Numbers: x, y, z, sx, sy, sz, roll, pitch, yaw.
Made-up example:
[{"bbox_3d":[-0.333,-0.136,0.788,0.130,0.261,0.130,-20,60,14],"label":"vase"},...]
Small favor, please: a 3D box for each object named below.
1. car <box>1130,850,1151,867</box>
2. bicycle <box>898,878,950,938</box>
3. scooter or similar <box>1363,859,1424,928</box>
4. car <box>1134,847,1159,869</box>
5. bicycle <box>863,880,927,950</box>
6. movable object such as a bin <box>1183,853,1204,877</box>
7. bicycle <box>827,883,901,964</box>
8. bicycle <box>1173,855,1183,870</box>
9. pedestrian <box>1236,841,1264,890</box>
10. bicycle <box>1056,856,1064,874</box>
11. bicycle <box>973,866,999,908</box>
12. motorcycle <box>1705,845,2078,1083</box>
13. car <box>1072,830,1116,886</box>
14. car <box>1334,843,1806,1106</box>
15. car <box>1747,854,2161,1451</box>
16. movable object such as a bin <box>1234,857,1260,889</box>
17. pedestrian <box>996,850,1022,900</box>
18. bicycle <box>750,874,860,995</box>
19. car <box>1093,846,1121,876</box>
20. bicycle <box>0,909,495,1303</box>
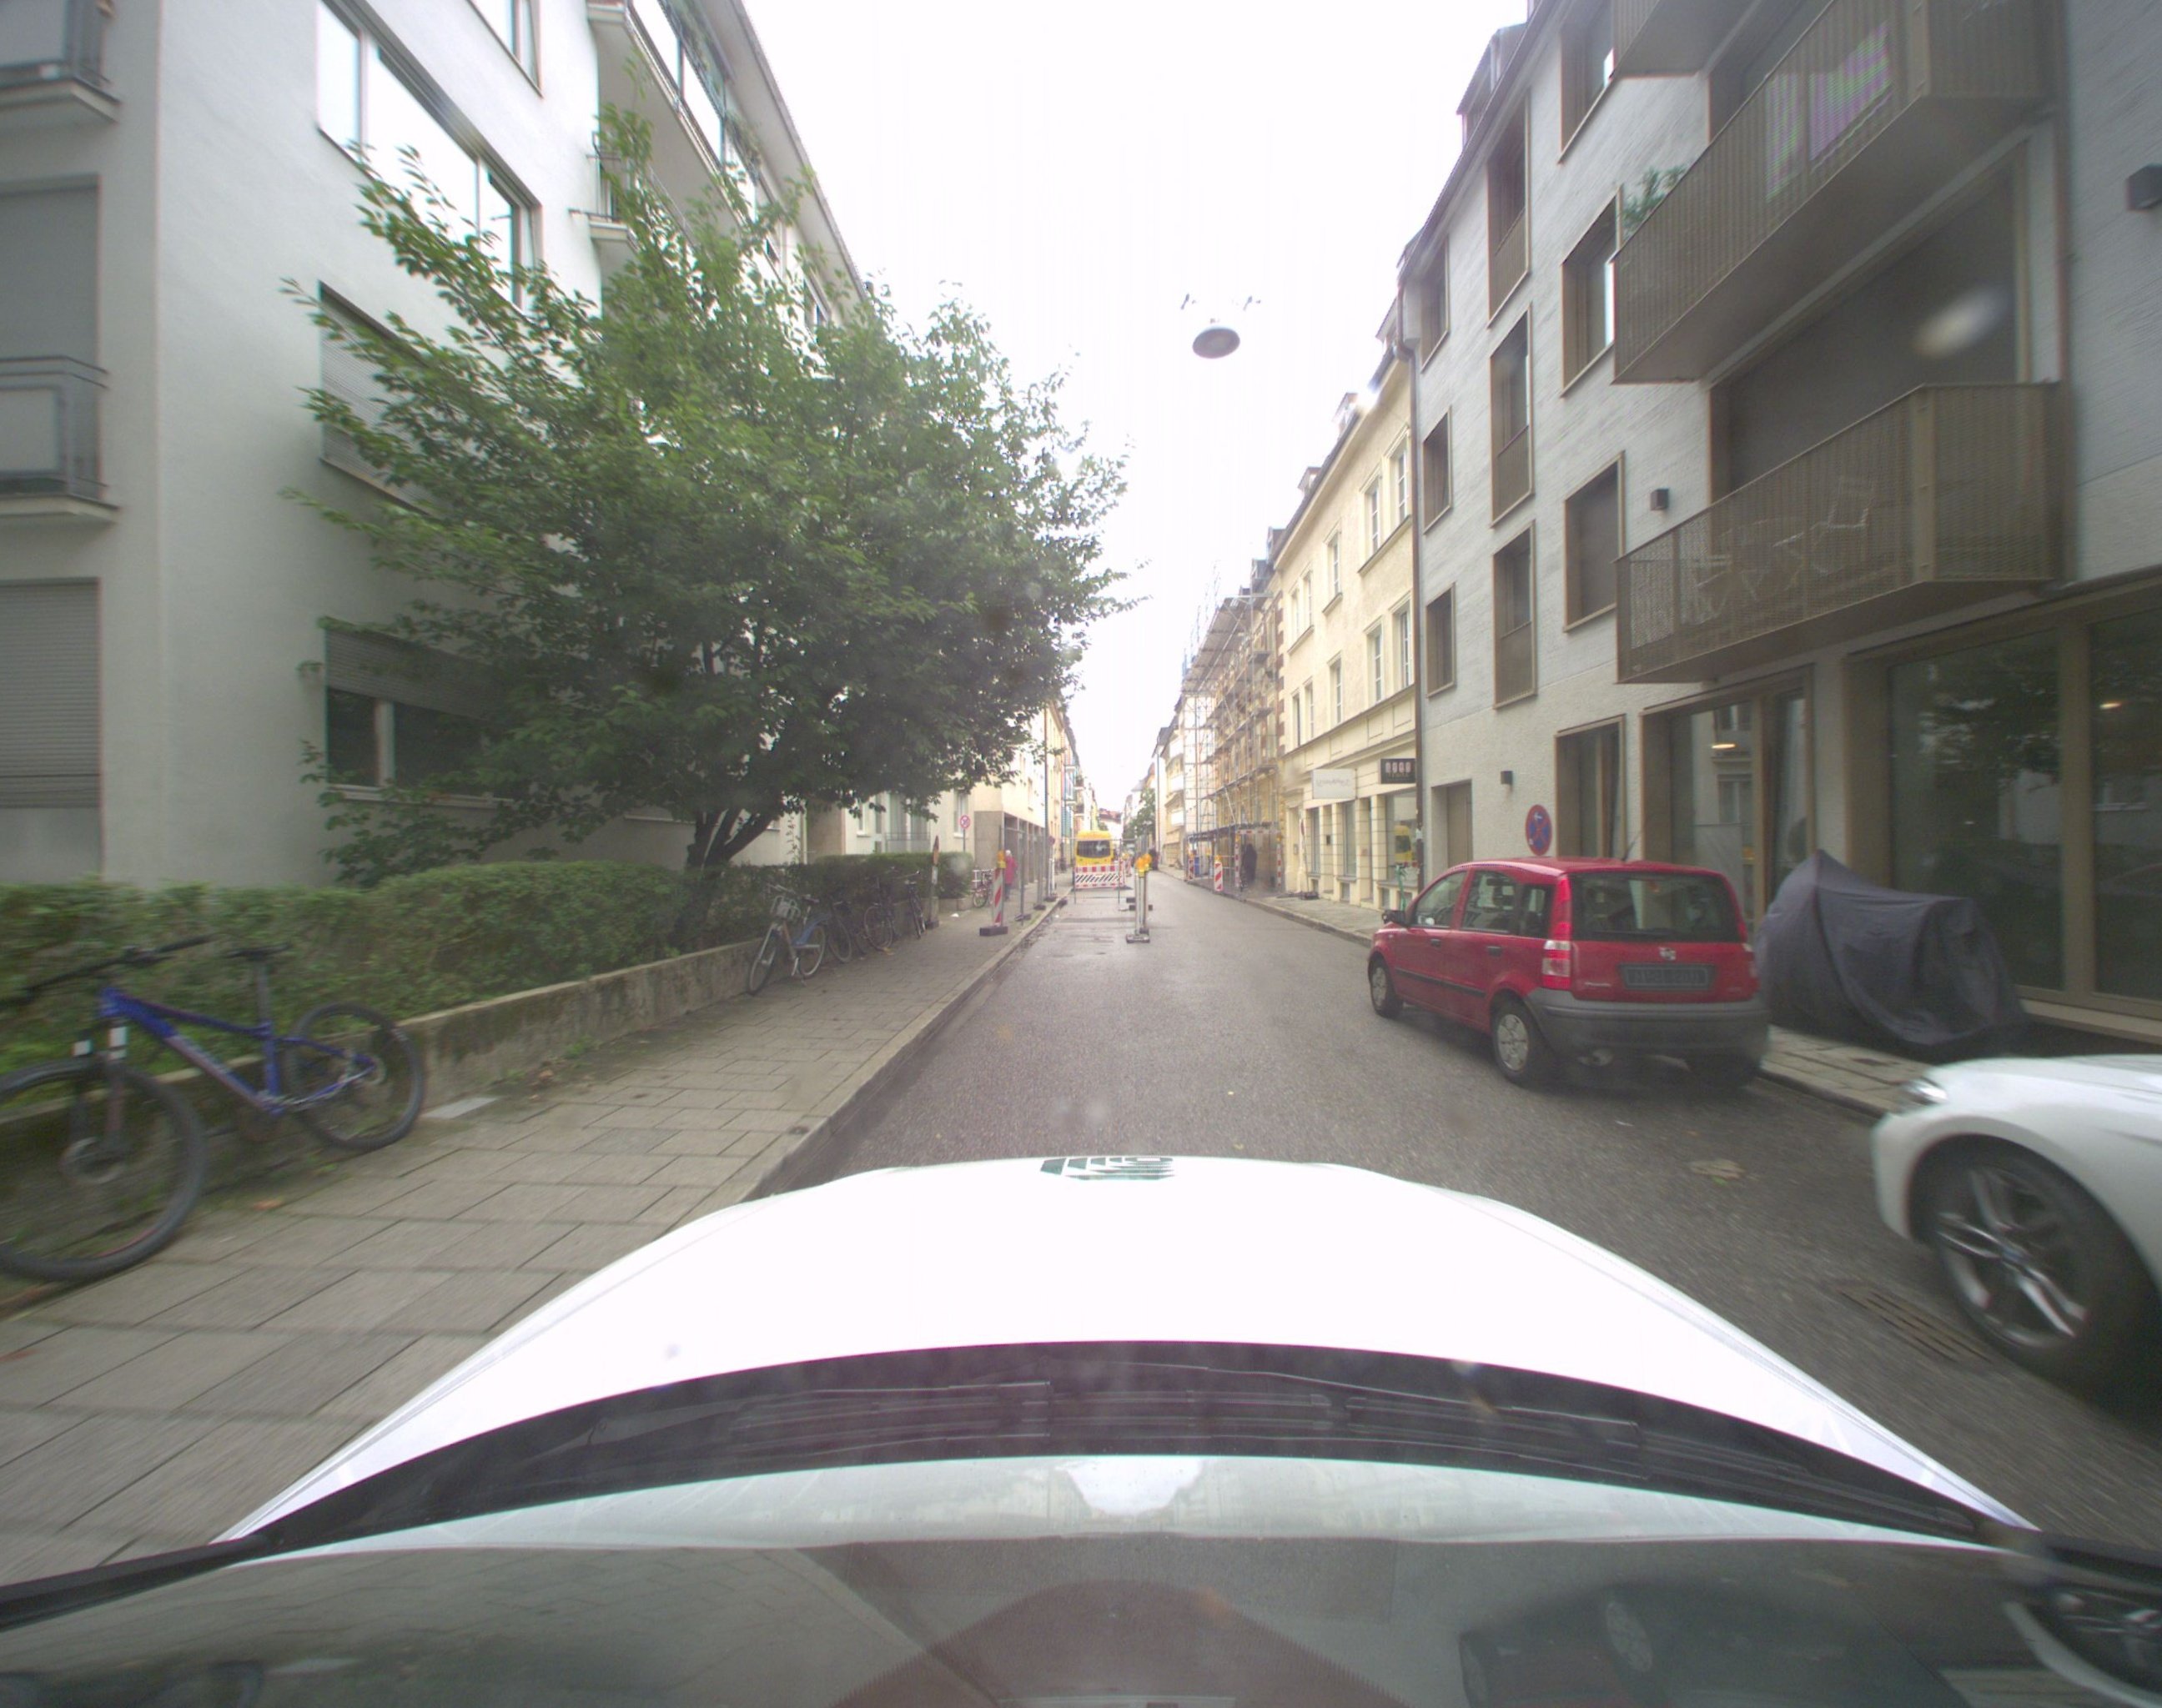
[{"bbox_3d":[6.022,0.423,82.842,1.887,1.641,4.322,-1,0,1],"label":"car"},{"bbox_3d":[-2.812,0.938,14.740,0.442,0.978,1.817,2,-1,3],"label":"bicycle"},{"bbox_3d":[6.042,0.734,15.688,0.489,1.183,1.618,-4,0,42],"label":"scooter or similar"},{"bbox_3d":[5.831,0.348,73.004,1.986,1.932,4.661,0,0,1],"label":"car"},{"bbox_3d":[-2.902,0.928,12.875,0.442,0.978,1.855,2,-1,3],"label":"bicycle"},{"bbox_3d":[6.992,0.687,50.585,1.078,1.346,1.322,-4,0,14],"label":"movable object such as a bin"},{"bbox_3d":[-2.977,0.923,11.315,0.434,0.978,1.700,2,-1,3],"label":"bicycle"},{"bbox_3d":[7.866,0.685,66.091,0.635,1.153,1.916,-4,1,2],"label":"bicycle"},{"bbox_3d":[6.296,0.412,30.371,0.727,1.752,0.988,-5,0,1],"label":"pedestrian"},{"bbox_3d":[-1.476,0.753,56.077,0.381,1.188,2.132,0,1,-6],"label":"bicycle"},{"bbox_3d":[-2.625,0.908,22.683,0.375,1.063,1.598,5,0,3],"label":"bicycle"},{"bbox_3d":[5.710,0.674,5.963,0.801,1.423,1.933,-3,0,3],"label":"motorcycle"},{"bbox_3d":[0.684,0.185,41.066,1.986,2.578,6.738,-1,0,1],"label":"car"},{"bbox_3d":[3.542,0.711,6.900,1.764,1.524,4.070,1,0,4],"label":"car"},{"bbox_3d":[3.495,0.750,1.118,1.761,1.461,4.384,1,0,3],"label":"car"},{"bbox_3d":[6.318,0.713,31.012,0.727,1.141,0.988,-5,0,1],"label":"movable object such as a bin"},{"bbox_3d":[-2.250,0.653,25.490,0.635,1.532,0.748,-2,0,4],"label":"pedestrian"},{"bbox_3d":[-2.942,0.812,8.848,0.486,1.151,1.700,2,-1,3],"label":"bicycle"},{"bbox_3d":[1.778,0.460,56.200,1.721,1.897,5.511,-3,0,2],"label":"car"},{"bbox_3d":[-3.314,0.835,3.395,0.345,1.072,1.781,3,0,2],"label":"bicycle"}]
